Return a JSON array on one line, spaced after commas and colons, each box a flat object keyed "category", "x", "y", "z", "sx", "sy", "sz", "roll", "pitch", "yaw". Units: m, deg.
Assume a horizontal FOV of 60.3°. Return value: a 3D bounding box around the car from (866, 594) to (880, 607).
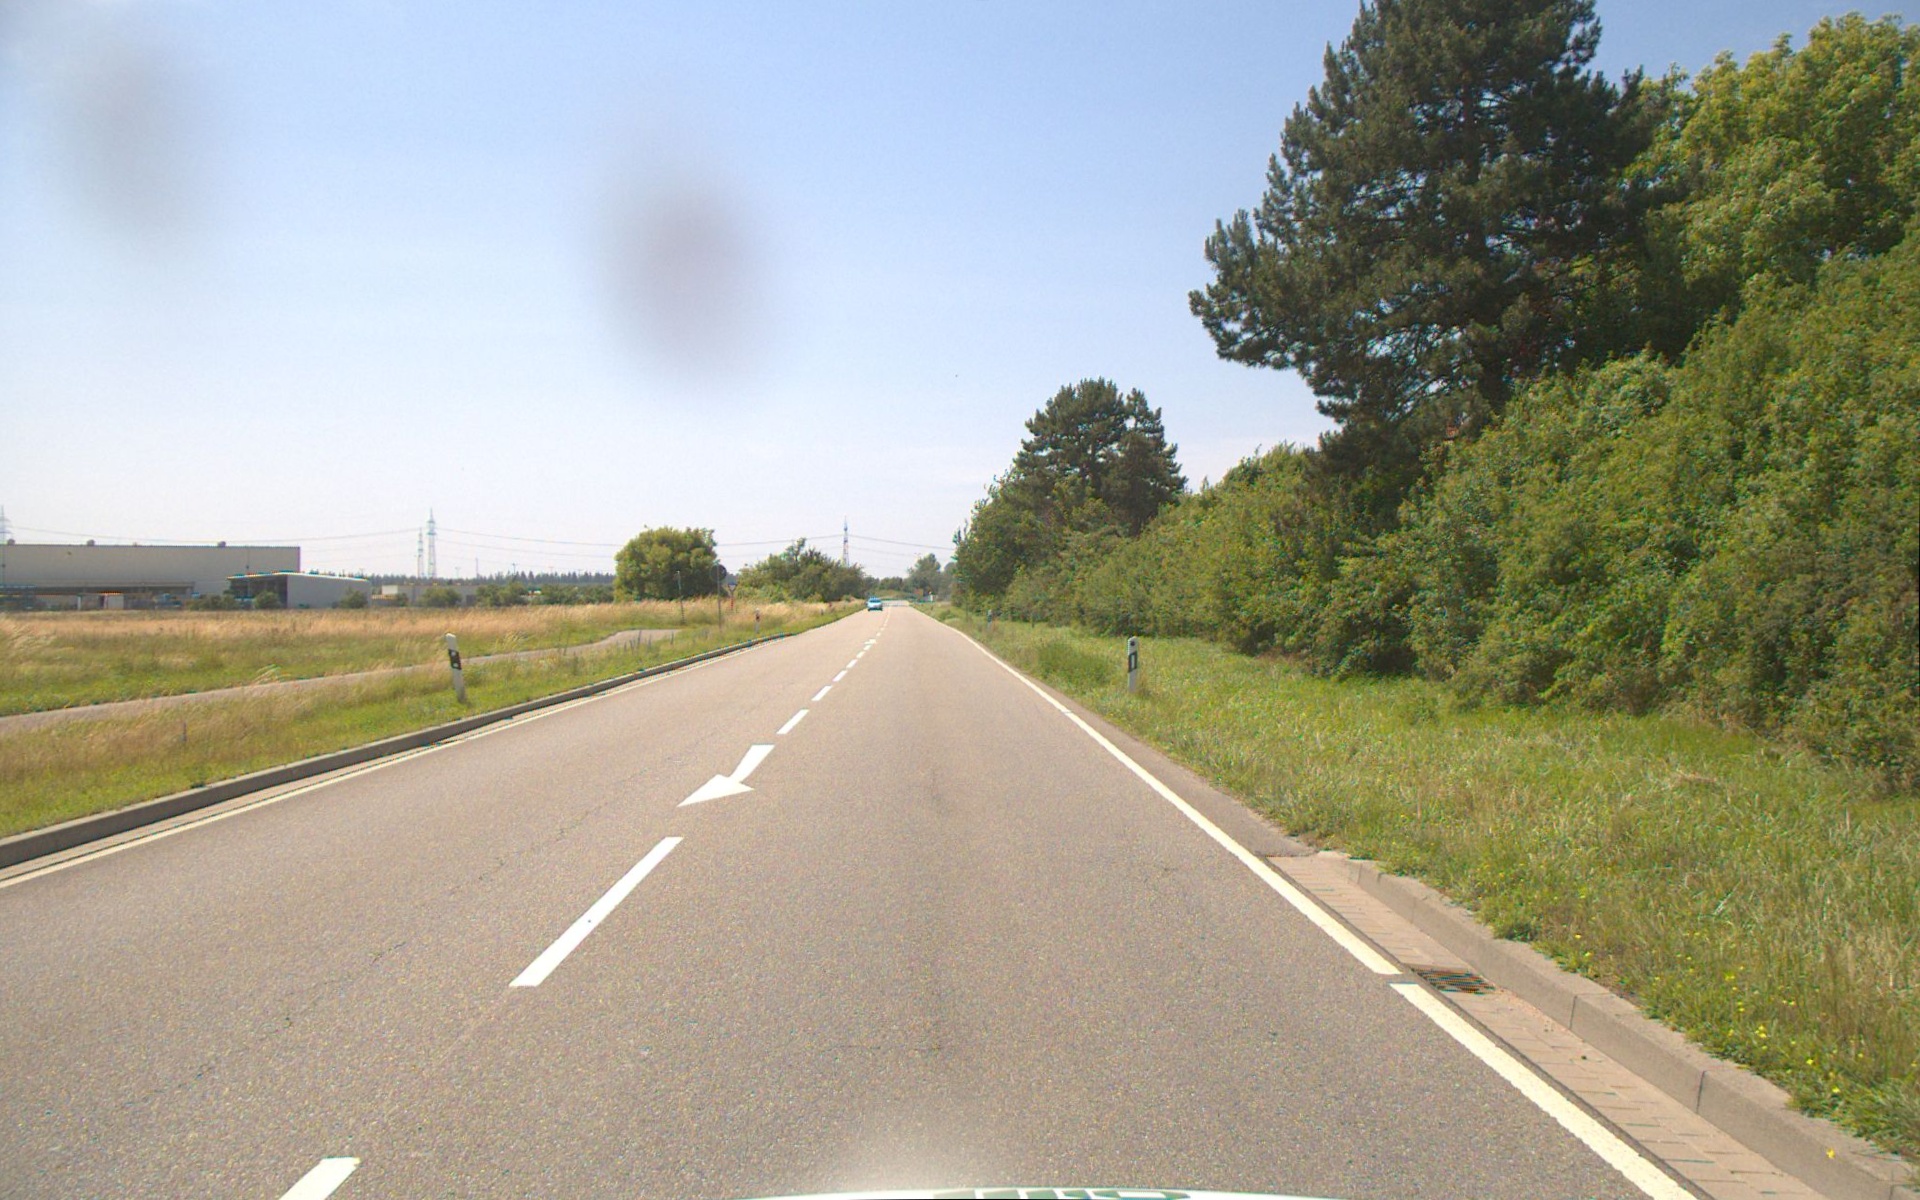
[{"category": "car", "x": -10.290, "y": 0.018, "z": 195.868, "sx": 1.645, "sy": 1.446, "sz": 4.420, "roll": -3, "pitch": 0, "yaw": -3}]
